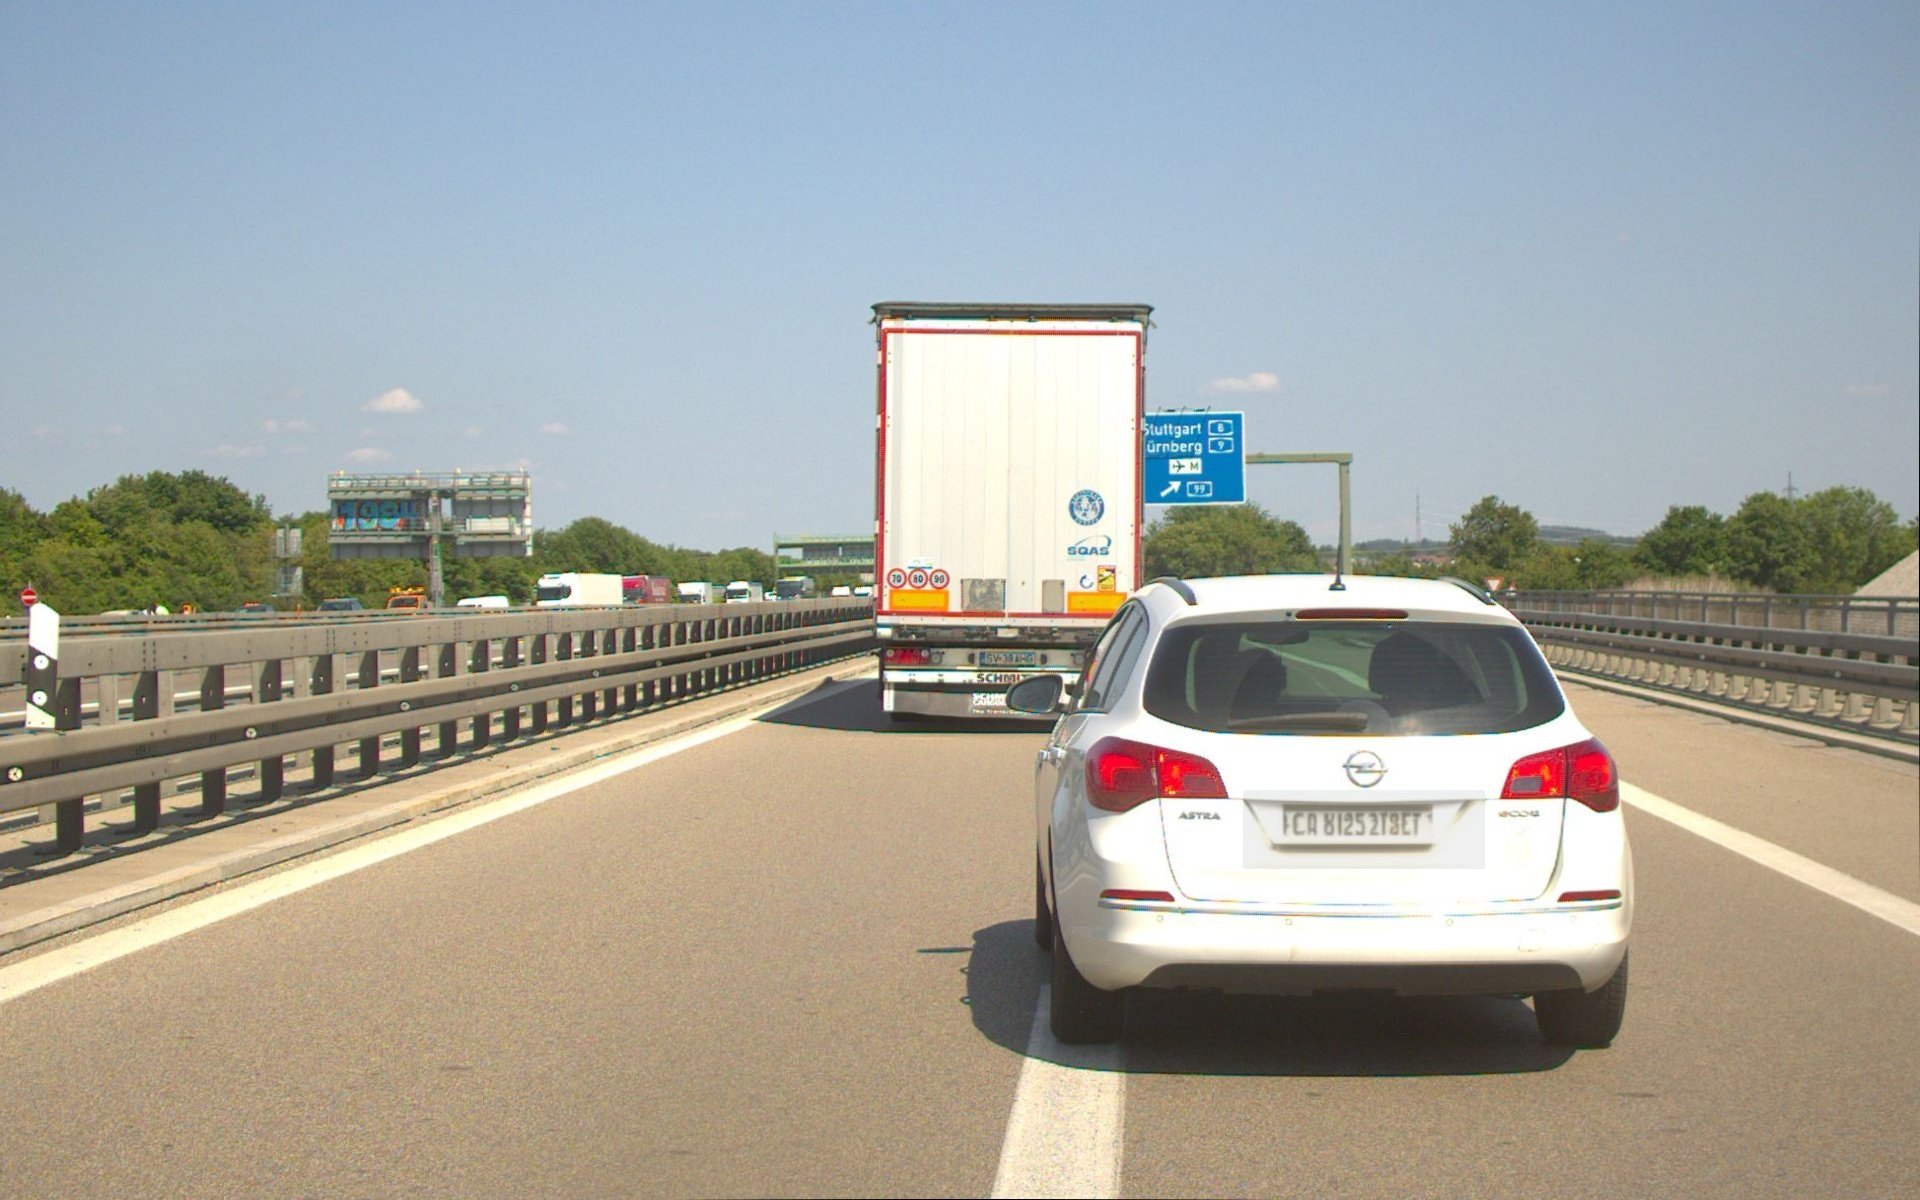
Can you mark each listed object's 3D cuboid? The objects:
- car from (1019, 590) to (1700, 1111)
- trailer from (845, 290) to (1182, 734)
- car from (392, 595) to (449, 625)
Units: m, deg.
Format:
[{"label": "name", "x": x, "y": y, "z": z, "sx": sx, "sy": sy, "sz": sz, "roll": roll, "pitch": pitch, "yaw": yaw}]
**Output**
[{"label": "car", "x": 1.167, "y": 0.703, "z": 11.916, "sx": 1.854, "sy": 1.438, "sz": 4.372, "roll": 0, "pitch": 0, "yaw": 0}, {"label": "trailer", "x": 0.855, "y": -0.797, "z": 37.789, "sx": 2.913, "sy": 4.131, "sz": 11.255, "roll": 1, "pitch": 0, "yaw": 5}, {"label": "car", "x": -28.293, "y": 0.489, "z": 180.437, "sx": 1.838, "sy": 1.512, "sz": 5.297, "roll": 0, "pitch": 0, "yaw": 3}]
